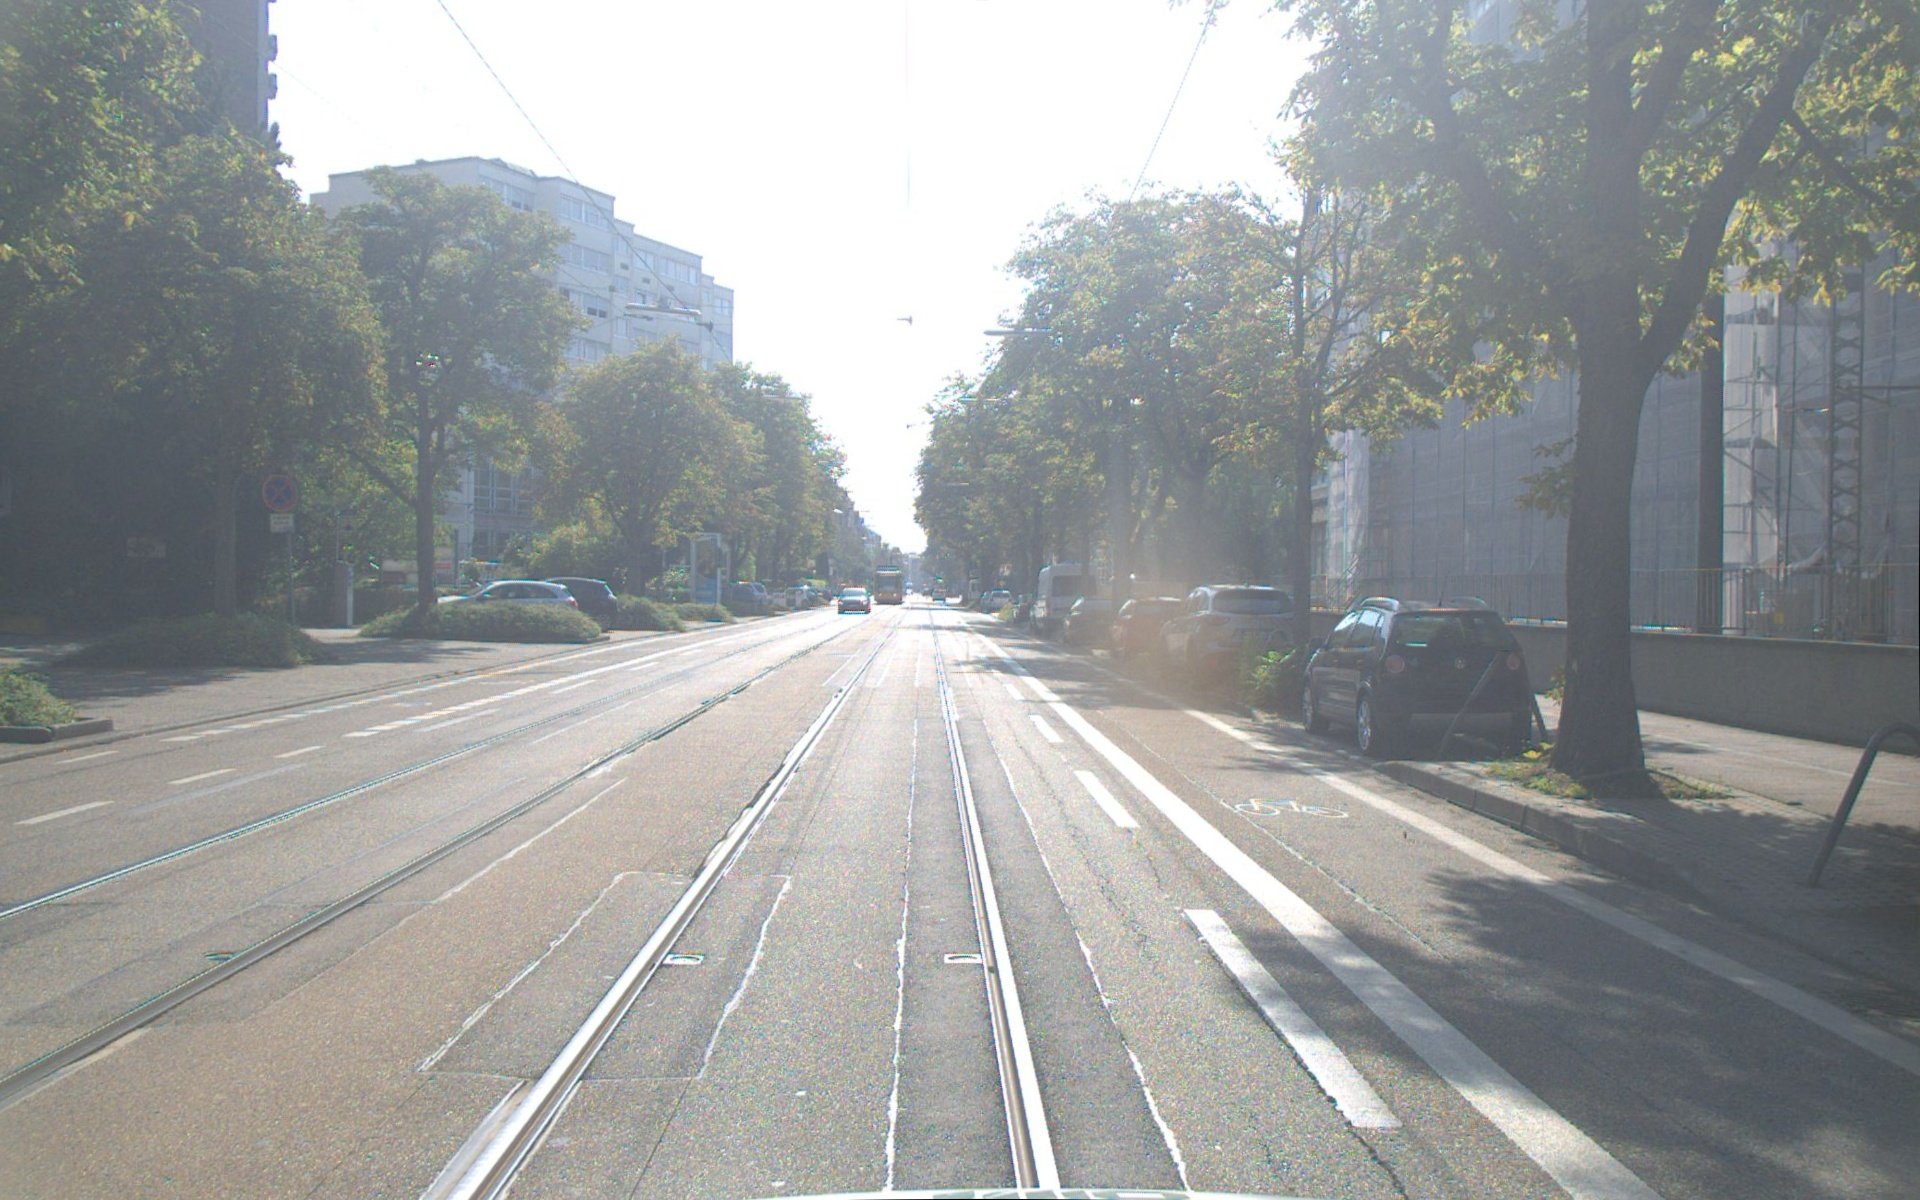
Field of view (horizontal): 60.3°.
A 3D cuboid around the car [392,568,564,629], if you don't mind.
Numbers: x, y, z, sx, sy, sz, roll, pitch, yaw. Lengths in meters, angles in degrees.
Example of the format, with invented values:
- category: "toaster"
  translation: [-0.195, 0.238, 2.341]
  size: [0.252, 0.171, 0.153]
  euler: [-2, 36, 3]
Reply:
- category: "car"
  translation: [-12.372, -0.035, 42.480]
  size: [3.946, 1.505, 1.770]
  euler: [1, 0, -31]

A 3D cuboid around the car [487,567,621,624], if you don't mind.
- category: "car"
  translation: [-12.112, -0.126, 49.372]
  size: [3.590, 1.541, 1.608]
  euler: [2, 0, -27]

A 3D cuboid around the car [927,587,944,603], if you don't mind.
- category: "car"
  translation: [-2.994, -0.597, 203.629]
  size: [1.953, 1.870, 4.000]
  euler: [1, 0, 0]

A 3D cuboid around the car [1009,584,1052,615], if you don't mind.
- category: "car"
  translation: [3.311, -0.028, 78.055]
  size: [1.718, 1.401, 4.718]
  euler: [-1, 0, -1]

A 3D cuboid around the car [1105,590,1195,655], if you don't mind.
- category: "car"
  translation: [4.377, 0.485, 38.491]
  size: [1.583, 1.438, 3.999]
  euler: [0, 0, -1]

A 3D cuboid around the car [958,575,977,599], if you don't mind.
- category: "car"
  translation: [0.855, -1.405, 180.052]
  size: [1.964, 2.518, 4.477]
  euler: [1, 0, 0]

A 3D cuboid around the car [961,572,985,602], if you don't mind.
- category: "car"
  translation: [1.198, -1.214, 153.142]
  size: [1.964, 2.533, 4.476]
  euler: [4, -1, 0]

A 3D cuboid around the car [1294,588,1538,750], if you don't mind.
- category: "car"
  translation: [4.778, 0.650, 17.821]
  size: [1.544, 1.510, 3.738]
  euler: [-1, 1, -1]

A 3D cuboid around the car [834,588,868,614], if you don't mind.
- category: "car"
  translation: [-6.248, 0.035, 94.896]
  size: [1.791, 1.400, 4.511]
  euler: [1, 0, -2]

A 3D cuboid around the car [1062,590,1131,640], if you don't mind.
- category: "car"
  translation: [3.977, 0.416, 48.792]
  size: [1.583, 1.398, 4.826]
  euler: [0, 0, -1]

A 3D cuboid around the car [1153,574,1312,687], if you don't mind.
- category: "car"
  translation: [4.492, 0.443, 27.899]
  size: [1.718, 1.721, 4.394]
  euler: [1, 1, -3]

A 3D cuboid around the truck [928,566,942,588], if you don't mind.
- category: "truck"
  translation: [-3.709, -3.377, 242.679]
  size: [1.824, 3.185, 4.350]
  euler: [1, 0, -3]

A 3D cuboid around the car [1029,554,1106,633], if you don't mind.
- category: "car"
  translation: [3.790, -0.237, 59.092]
  size: [2.041, 2.597, 5.499]
  euler: [-3, 0, -3]

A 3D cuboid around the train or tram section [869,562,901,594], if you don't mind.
- category: "train or tram section"
  translation: [-7.084, -2.031, 158.530]
  size: [2.673, 2.945, 15.451]
  euler: [1, 0, -1]

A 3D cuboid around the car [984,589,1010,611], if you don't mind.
- category: "car"
  translation: [2.494, 0.004, 111.536]
  size: [1.655, 1.443, 3.634]
  euler: [1, 0, 0]
